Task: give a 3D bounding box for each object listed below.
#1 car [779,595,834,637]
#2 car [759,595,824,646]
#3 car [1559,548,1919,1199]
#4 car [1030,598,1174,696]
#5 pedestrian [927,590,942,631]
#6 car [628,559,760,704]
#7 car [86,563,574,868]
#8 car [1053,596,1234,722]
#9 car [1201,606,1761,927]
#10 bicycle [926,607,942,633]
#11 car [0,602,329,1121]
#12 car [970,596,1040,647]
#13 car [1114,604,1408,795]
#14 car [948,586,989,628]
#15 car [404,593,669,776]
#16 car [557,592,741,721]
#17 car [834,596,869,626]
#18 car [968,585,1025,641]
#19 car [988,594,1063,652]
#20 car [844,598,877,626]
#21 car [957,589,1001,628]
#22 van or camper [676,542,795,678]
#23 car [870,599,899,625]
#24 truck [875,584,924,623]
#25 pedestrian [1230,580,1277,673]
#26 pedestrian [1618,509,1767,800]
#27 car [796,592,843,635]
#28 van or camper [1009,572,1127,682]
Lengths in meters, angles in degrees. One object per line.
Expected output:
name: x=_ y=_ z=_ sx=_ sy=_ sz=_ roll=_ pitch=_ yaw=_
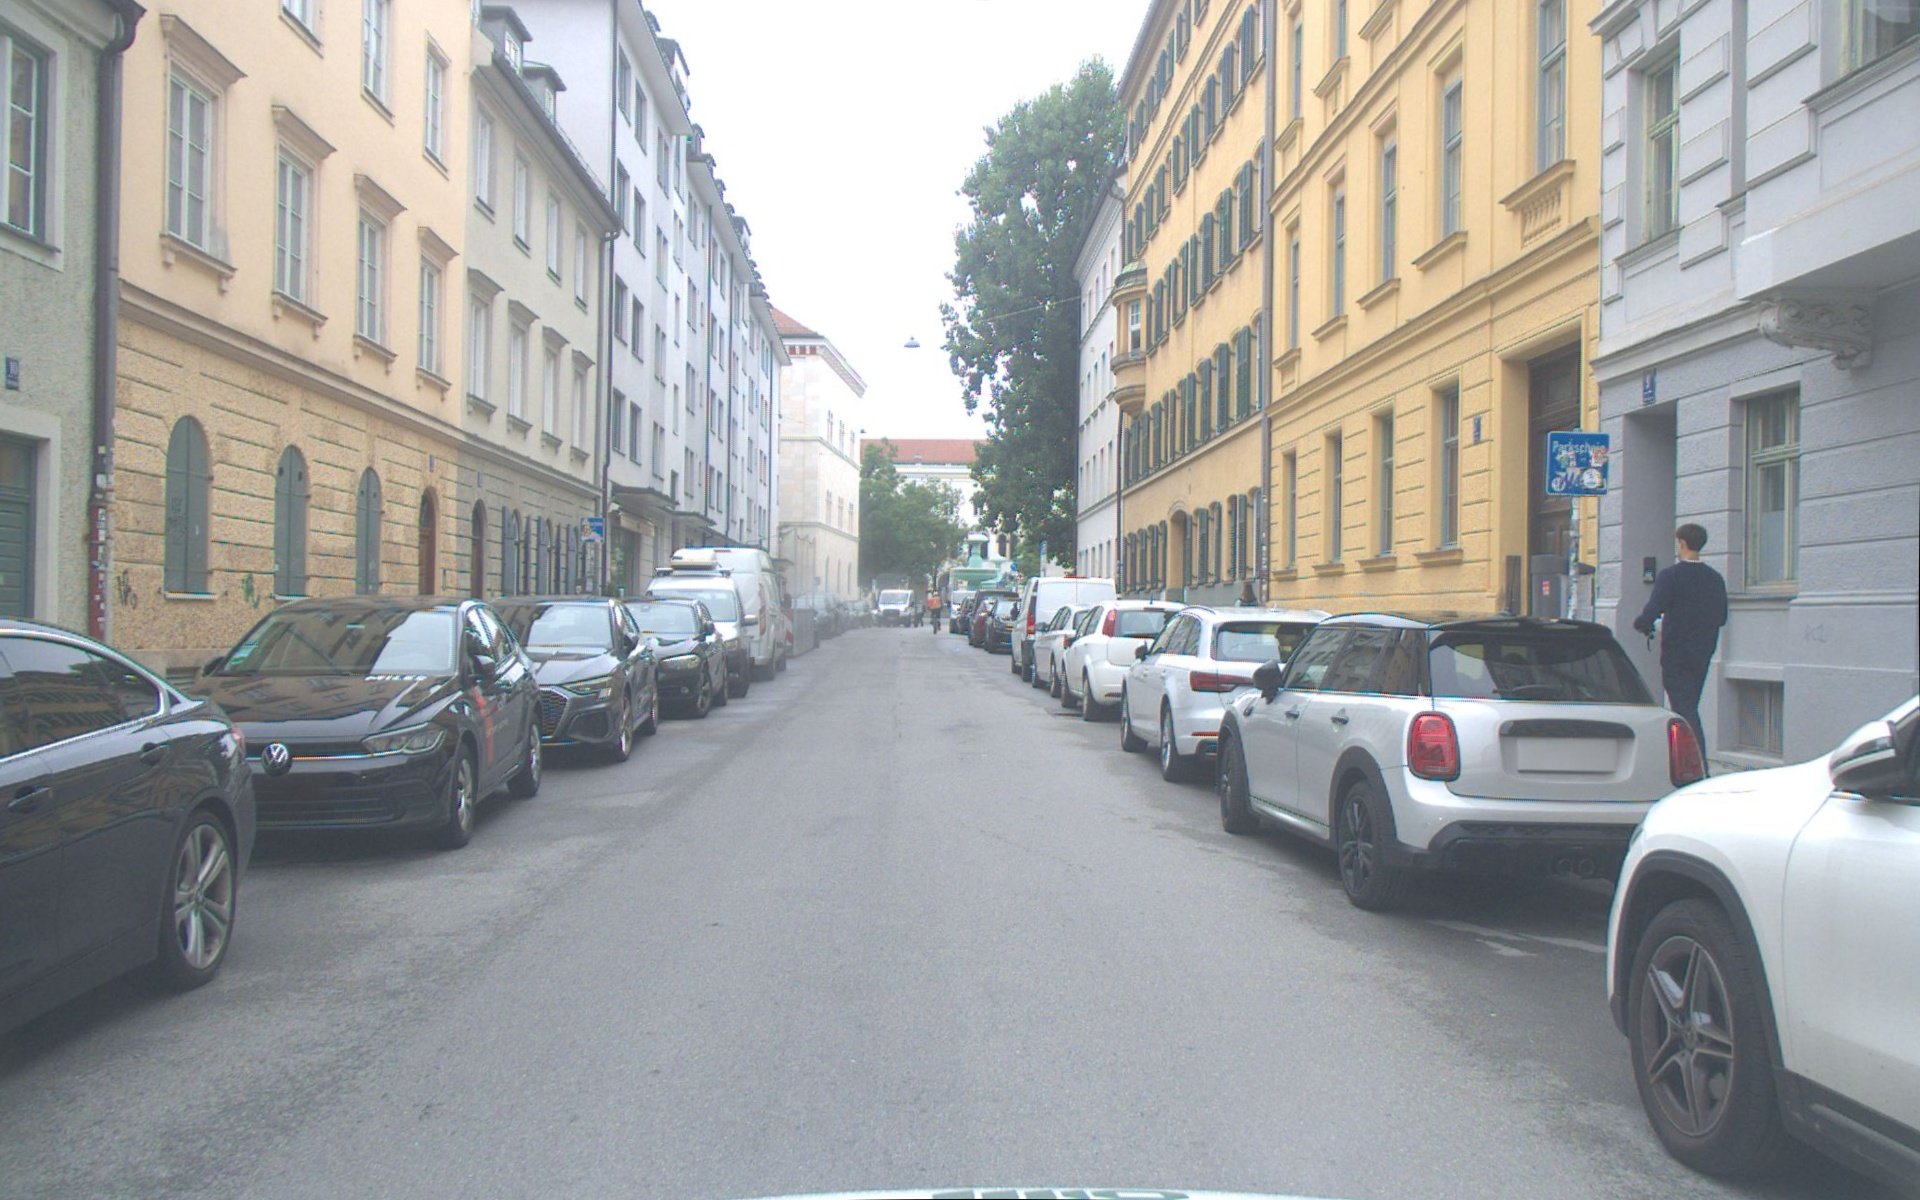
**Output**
car: x=-5.494 y=0.558 z=59.551 sx=1.781 sy=1.470 sz=3.816 roll=0 pitch=0 yaw=-3
car: x=-5.078 y=0.592 z=49.492 sx=1.729 sy=1.435 sz=4.147 roll=0 pitch=0 yaw=-9
car: x=2.901 y=0.709 z=3.269 sx=1.708 sy=1.611 sz=4.465 roll=1 pitch=0 yaw=-1
car: x=2.177 y=0.701 z=26.437 sx=1.674 sy=1.417 sz=4.203 roll=1 pitch=0 yaw=-4
pedestrian: x=-1.116 y=0.441 z=71.157 sx=0.629 sy=1.744 sz=0.842 roll=0 pitch=-1 yaw=-1
car: x=-4.054 y=0.457 z=25.836 sx=1.721 sy=2.030 sz=4.620 roll=1 pitch=0 yaw=-6
car: x=-3.668 y=0.594 z=10.470 sx=1.720 sy=1.522 sz=4.197 roll=1 pitch=0 yaw=-4
car: x=2.319 y=0.707 z=21.843 sx=1.674 sy=1.480 sz=4.093 roll=1 pitch=0 yaw=-4
car: x=2.682 y=0.769 z=9.604 sx=1.674 sy=1.429 sz=4.204 roll=1 pitch=0 yaw=-4
bicycle: x=-1.113 y=0.873 z=71.087 sx=0.662 sy=1.114 sz=1.759 roll=0 pitch=-1 yaw=-1
car: x=-3.506 y=0.725 z=4.741 sx=1.762 sy=1.362 sz=4.683 roll=1 pitch=1 yaw=-3
car: x=1.361 y=0.657 z=51.554 sx=1.776 sy=1.449 sz=4.244 roll=2 pitch=0 yaw=-3
car: x=2.522 y=0.766 z=15.017 sx=1.673 sy=1.433 sz=4.813 roll=1 pitch=0 yaw=-1
car: x=0.383 y=0.334 z=78.386 sx=1.814 sy=1.953 sz=4.768 roll=1 pitch=0 yaw=-1
car: x=-3.834 y=0.679 z=15.643 sx=1.781 sy=1.467 sz=4.127 roll=0 pitch=0 yaw=-5
car: x=-3.803 y=0.650 z=20.865 sx=1.720 sy=1.433 sz=4.100 roll=1 pitch=0 yaw=-3
car: x=-6.059 y=0.635 z=92.849 sx=1.671 sy=1.637 sz=3.863 roll=0 pitch=0 yaw=1
car: x=1.249 y=0.458 z=58.542 sx=1.775 sy=1.829 sz=4.245 roll=2 pitch=0 yaw=-1
car: x=1.791 y=0.632 z=46.477 sx=1.775 sy=1.490 sz=4.245 roll=2 pitch=0 yaw=-2
car: x=-5.905 y=0.704 z=98.915 sx=1.671 sy=1.609 sz=3.863 roll=0 pitch=0 yaw=1
car: x=0.817 y=0.353 z=72.445 sx=1.775 sy=1.642 sz=4.154 roll=1 pitch=0 yaw=-1
van or camper: x=-4.142 y=0.175 z=31.218 sx=1.719 sy=2.321 sz=5.270 roll=1 pitch=0 yaw=-3
car: x=-4.898 y=0.767 z=107.530 sx=1.671 sy=1.609 sz=3.863 roll=0 pitch=0 yaw=1
truck: x=-3.628 y=0.264 z=100.269 sx=2.076 sy=2.287 sz=6.189 roll=0 pitch=-1 yaw=6
pedestrian: x=5.212 y=0.471 z=29.395 sx=0.647 sy=1.599 sz=0.642 roll=-2 pitch=-1 yaw=-2
pedestrian: x=5.304 y=0.388 z=12.010 sx=0.656 sy=2.015 sz=0.708 roll=-2 pitch=-1 yaw=-1
car: x=-5.515 y=0.516 z=65.309 sx=1.672 sy=1.637 sz=3.861 roll=0 pitch=0 yaw=-3
van or camper: x=1.982 y=0.475 z=31.748 sx=1.796 sy=1.904 sz=5.077 roll=1 pitch=0 yaw=-1
